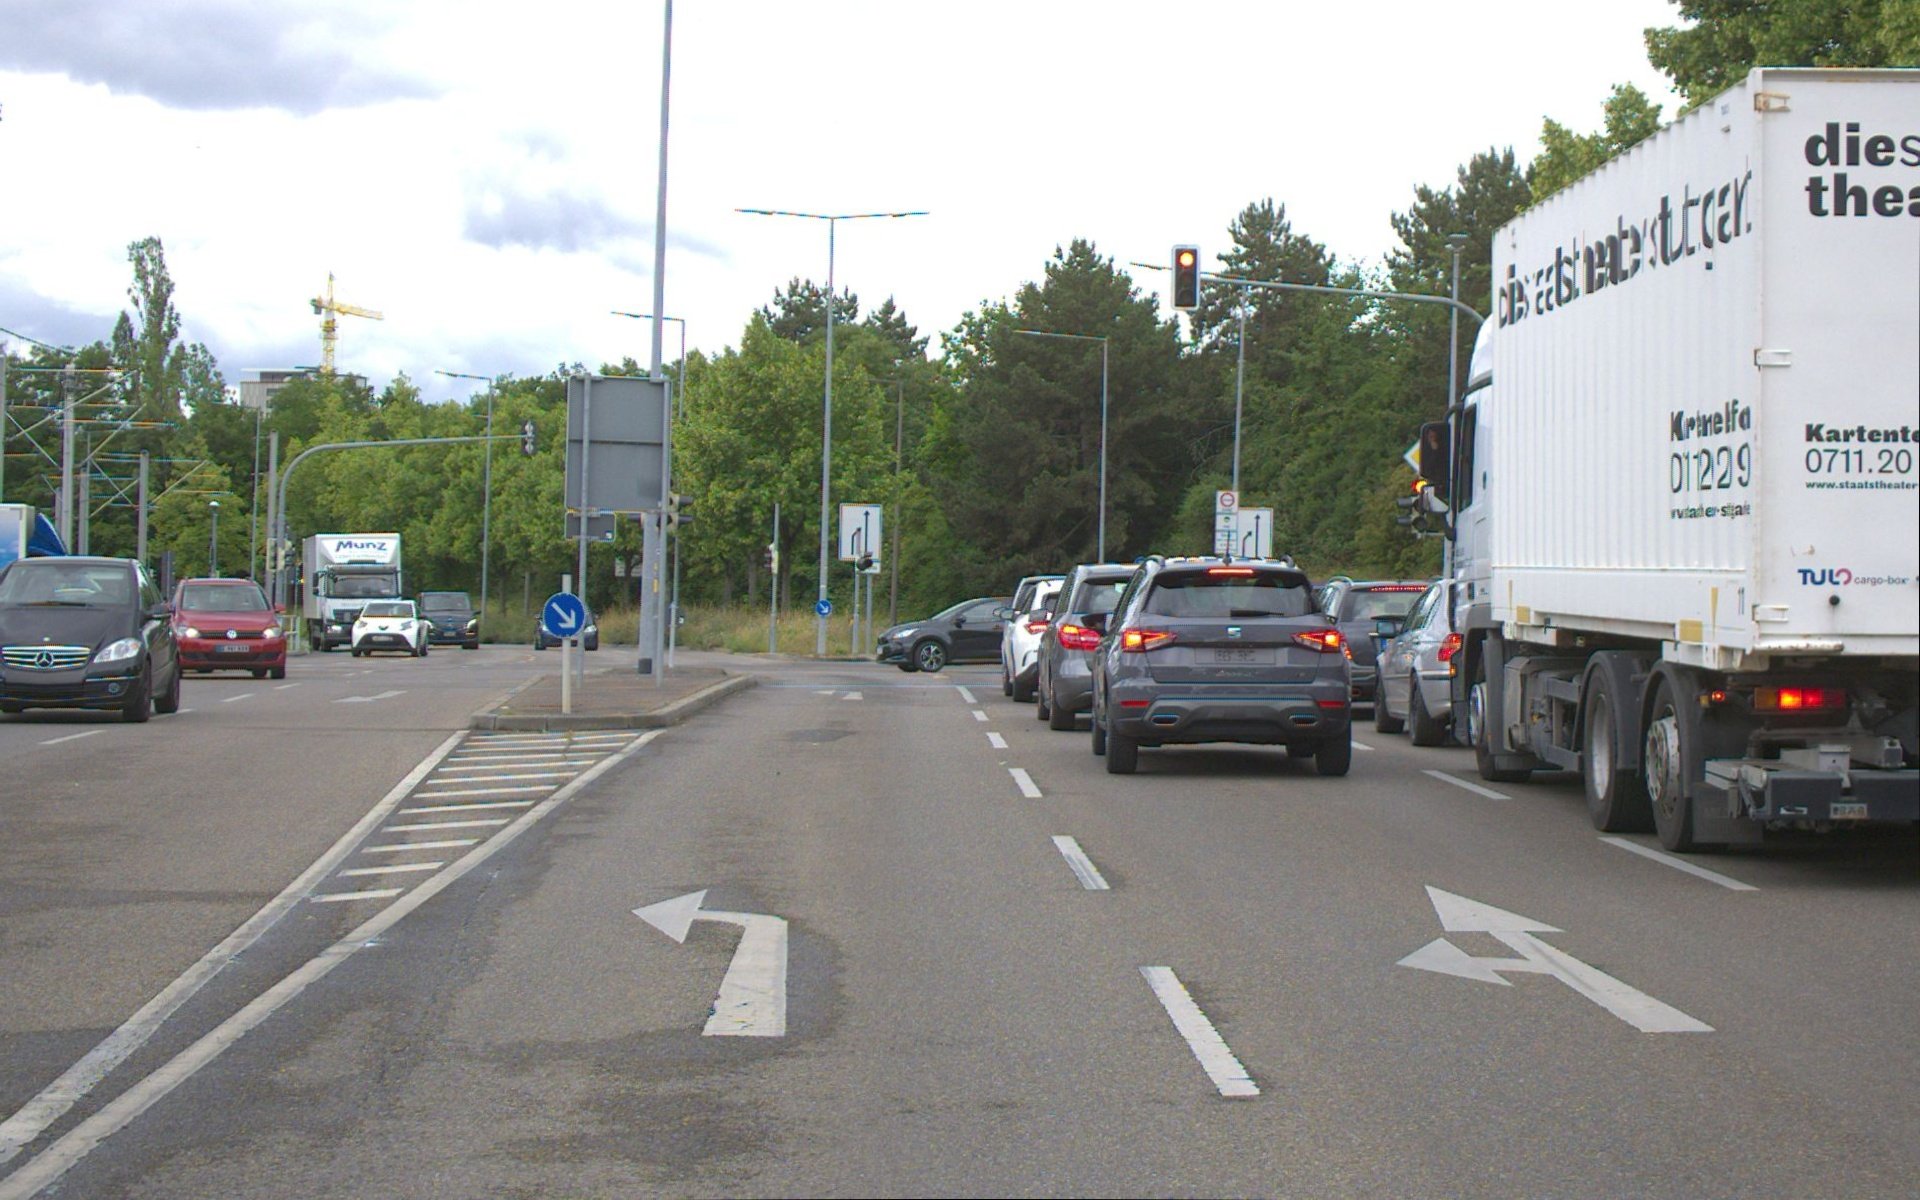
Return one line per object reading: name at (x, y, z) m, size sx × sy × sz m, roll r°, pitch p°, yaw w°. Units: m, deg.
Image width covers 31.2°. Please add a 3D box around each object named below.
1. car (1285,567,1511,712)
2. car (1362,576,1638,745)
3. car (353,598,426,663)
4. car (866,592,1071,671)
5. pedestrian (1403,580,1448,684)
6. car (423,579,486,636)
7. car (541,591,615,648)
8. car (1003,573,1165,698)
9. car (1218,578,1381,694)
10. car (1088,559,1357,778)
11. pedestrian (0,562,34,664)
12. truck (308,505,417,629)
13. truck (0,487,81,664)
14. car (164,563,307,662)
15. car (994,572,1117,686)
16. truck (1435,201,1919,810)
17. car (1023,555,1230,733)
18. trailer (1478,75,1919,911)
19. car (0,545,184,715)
car at (4.526, 0.376, 36.074) m, size 1.825 × 1.430 × 4.213 m, roll 0°, pitch 0°, yaw 0°
car at (4.559, 0.472, 29.570) m, size 1.812 × 1.349 × 4.118 m, roll 0°, pitch 0°, yaw 1°
car at (-15.098, 0.793, 91.091) m, size 1.775 × 1.503 × 3.748 m, roll 1°, pitch 2°, yaw -8°
car at (0.156, 0.600, 66.771) m, size 3.926 × 1.491 × 1.599 m, roll 0°, pitch 1°, yaw 0°
pedestrian at (6.590, 0.451, 48.710) m, size 0.611 × 1.448 × 0.354 m, roll 1°, pitch 2°, yaw 8°
car at (-16.299, 0.227, 111.015) m, size 1.915 × 1.722 × 4.001 m, roll 0°, pitch 1°, yaw -7°
car at (-11.723, 0.580, 105.349) m, size 1.915 × 1.570 × 4.002 m, roll 0°, pitch 2°, yaw -12°
car at (1.440, 0.402, 41.290) m, size 1.721 × 1.417 × 4.357 m, roll 0°, pitch 0°, yaw -1°
car at (4.253, 0.441, 43.526) m, size 1.545 × 1.399 × 4.000 m, roll 0°, pitch 0°, yaw -2°
car at (1.850, 0.451, 25.296) m, size 1.698 × 1.481 × 4.000 m, roll 0°, pitch 0°, yaw 0°
pedestrian at (-14.768, 0.201, 53.447) m, size 0.353 × 1.551 × 0.652 m, roll 2°, pitch 3°, yaw 33°
truck at (-18.499, -1.042, 106.904) m, size 2.659 × 3.636 × 9.504 m, roll 2°, pitch 1°, yaw -6°
truck at (-22.077, -0.534, 71.329) m, size 7.237 × 3.586 × 2.693 m, roll 0°, pitch 3°, yaw -11°
car at (-11.182, 0.167, 53.286) m, size 1.702 × 1.483 × 4.087 m, roll 0°, pitch 1°, yaw -5°
car at (1.271, 0.389, 46.595) m, size 1.535 × 1.499 × 2.670 m, roll 0°, pitch 0°, yaw -1°
truck at (4.760, -0.614, 22.986) m, size 2.571 × 3.693 × 4.106 m, roll 0°, pitch 1°, yaw 0°
car at (1.495, 0.360, 32.184) m, size 1.799 × 1.518 × 4.187 m, roll 0°, pitch 1°, yaw 1°
trailer at (4.770, -0.547, 19.089) m, size 2.566 × 3.693 × 7.764 m, roll 0°, pitch 1°, yaw 0°
car at (-8.689, 0.269, 33.600) m, size 1.725 × 1.568 × 3.707 m, roll 0°, pitch 0°, yaw -6°
